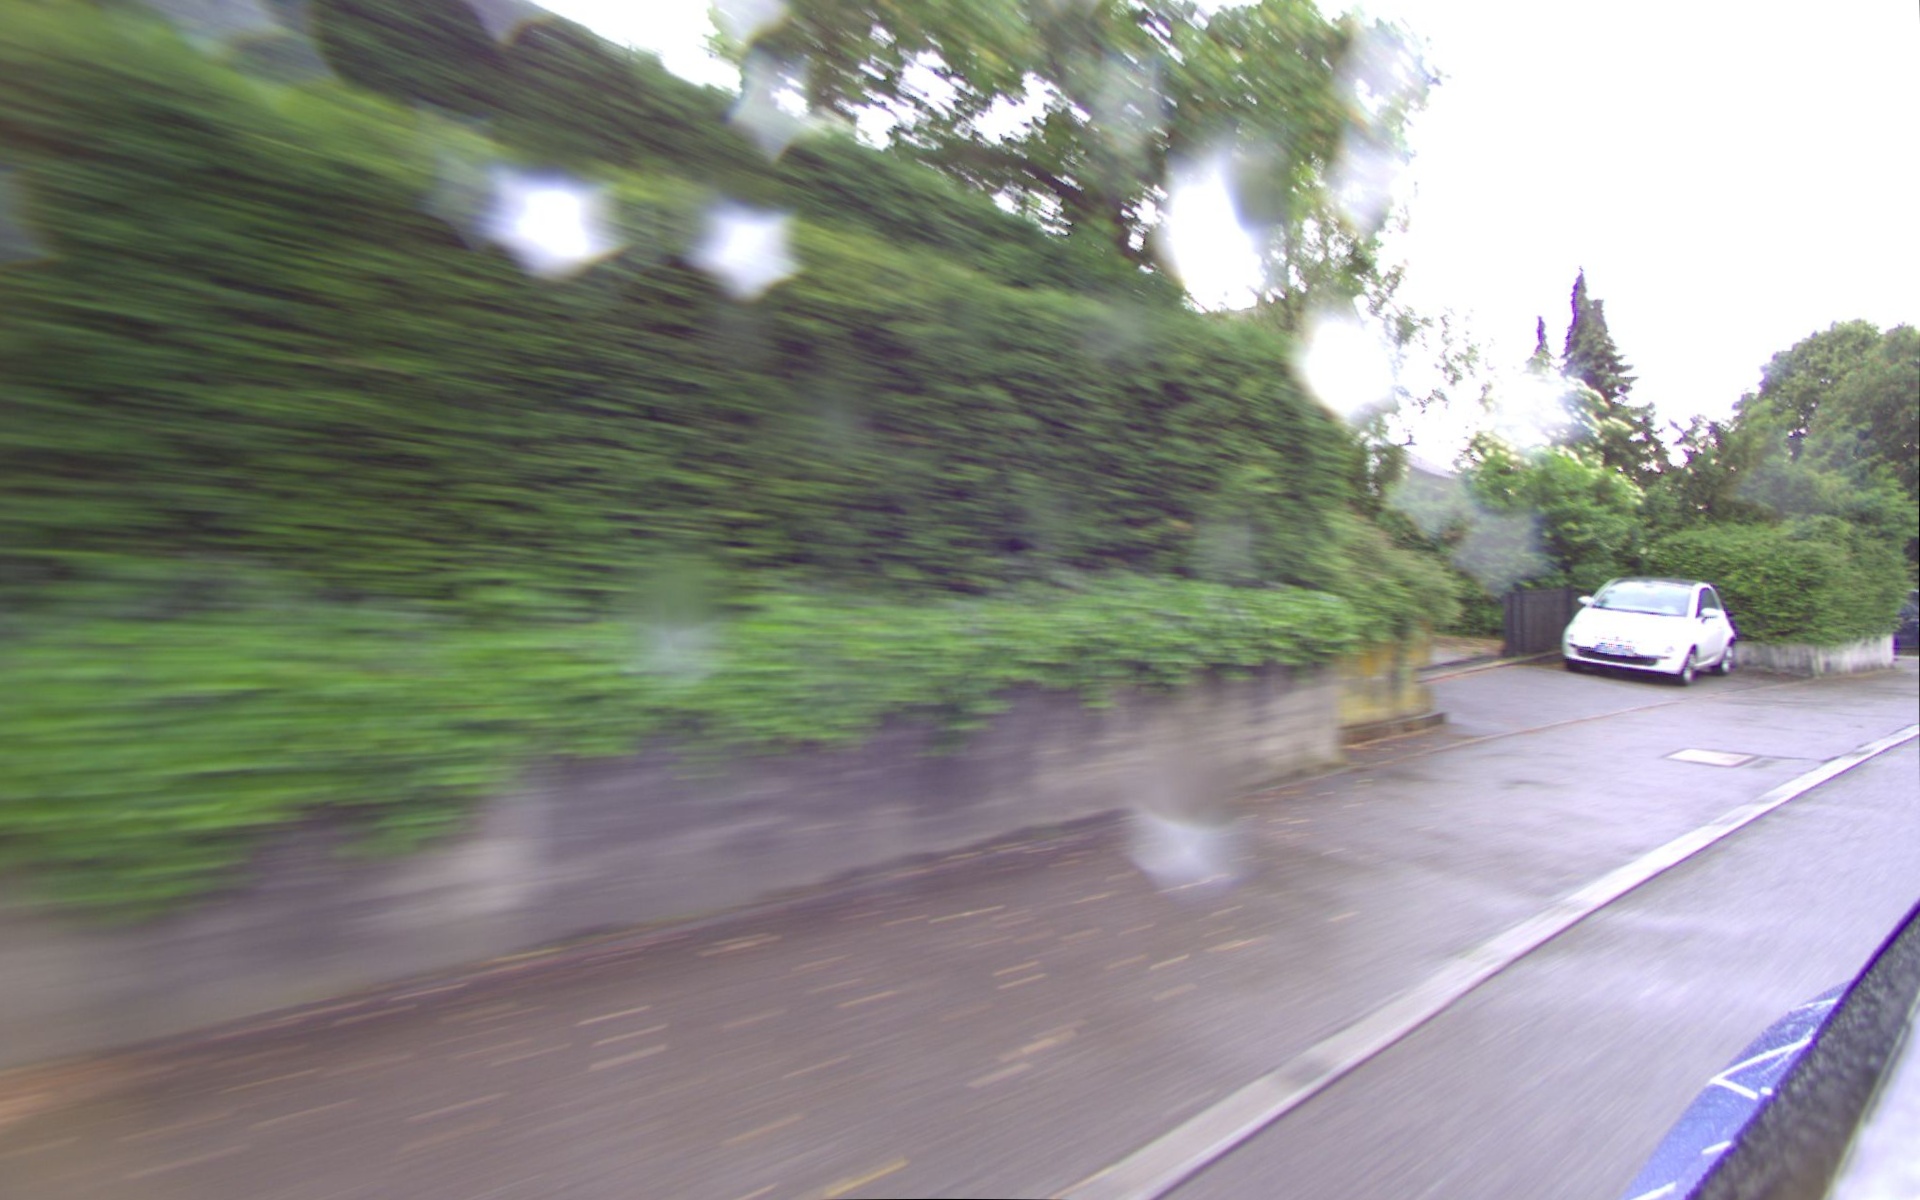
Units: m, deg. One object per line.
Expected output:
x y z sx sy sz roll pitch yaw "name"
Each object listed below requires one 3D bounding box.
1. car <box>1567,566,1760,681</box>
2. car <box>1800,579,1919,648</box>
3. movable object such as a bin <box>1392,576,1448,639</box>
11.020 0.317 15.773 3.777 1.554 1.535 1 2 -41 "car"
24.722 0.354 26.202 1.692 1.739 4.352 0 -2 -13 "car"
8.077 0.116 17.765 0.688 1.022 0.636 -3 5 -40 "movable object such as a bin"
